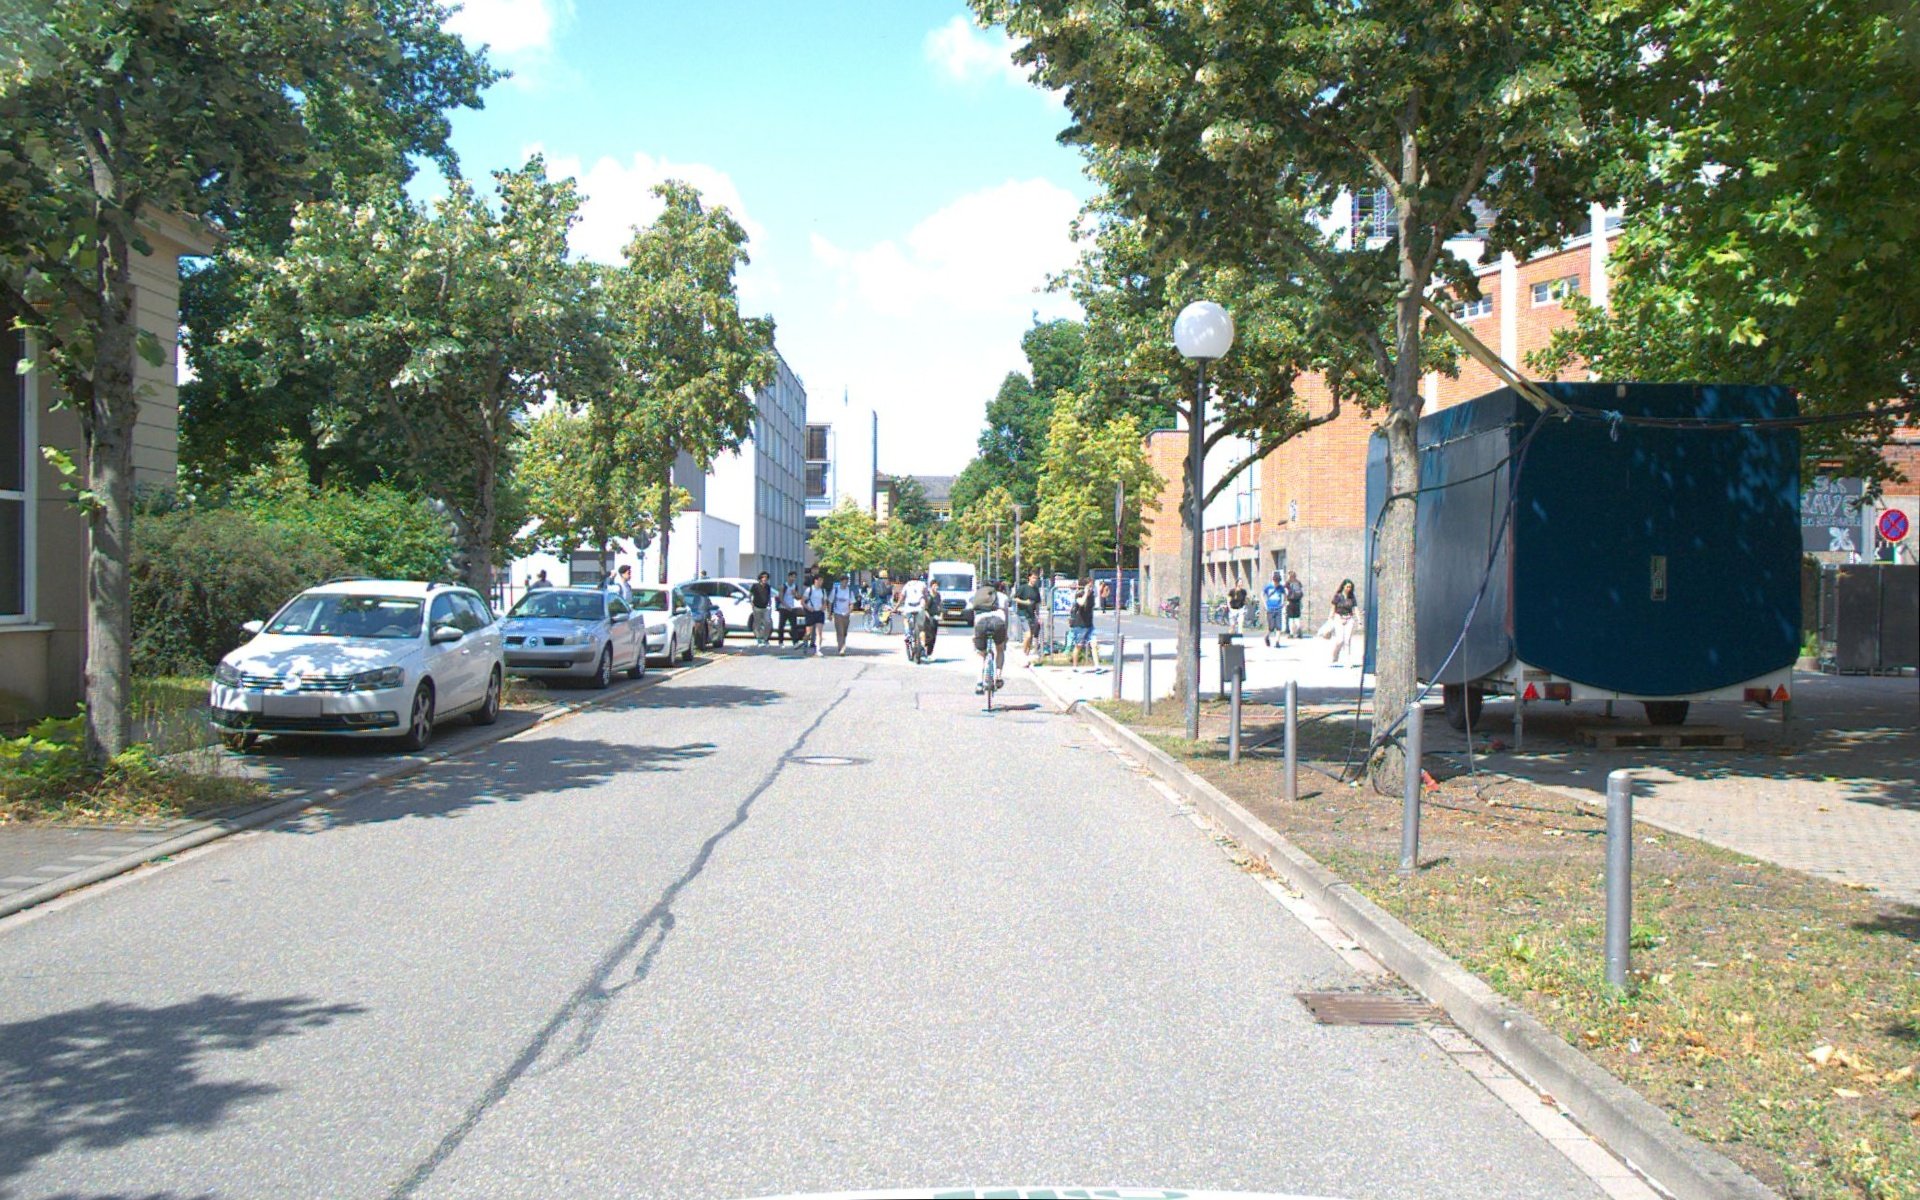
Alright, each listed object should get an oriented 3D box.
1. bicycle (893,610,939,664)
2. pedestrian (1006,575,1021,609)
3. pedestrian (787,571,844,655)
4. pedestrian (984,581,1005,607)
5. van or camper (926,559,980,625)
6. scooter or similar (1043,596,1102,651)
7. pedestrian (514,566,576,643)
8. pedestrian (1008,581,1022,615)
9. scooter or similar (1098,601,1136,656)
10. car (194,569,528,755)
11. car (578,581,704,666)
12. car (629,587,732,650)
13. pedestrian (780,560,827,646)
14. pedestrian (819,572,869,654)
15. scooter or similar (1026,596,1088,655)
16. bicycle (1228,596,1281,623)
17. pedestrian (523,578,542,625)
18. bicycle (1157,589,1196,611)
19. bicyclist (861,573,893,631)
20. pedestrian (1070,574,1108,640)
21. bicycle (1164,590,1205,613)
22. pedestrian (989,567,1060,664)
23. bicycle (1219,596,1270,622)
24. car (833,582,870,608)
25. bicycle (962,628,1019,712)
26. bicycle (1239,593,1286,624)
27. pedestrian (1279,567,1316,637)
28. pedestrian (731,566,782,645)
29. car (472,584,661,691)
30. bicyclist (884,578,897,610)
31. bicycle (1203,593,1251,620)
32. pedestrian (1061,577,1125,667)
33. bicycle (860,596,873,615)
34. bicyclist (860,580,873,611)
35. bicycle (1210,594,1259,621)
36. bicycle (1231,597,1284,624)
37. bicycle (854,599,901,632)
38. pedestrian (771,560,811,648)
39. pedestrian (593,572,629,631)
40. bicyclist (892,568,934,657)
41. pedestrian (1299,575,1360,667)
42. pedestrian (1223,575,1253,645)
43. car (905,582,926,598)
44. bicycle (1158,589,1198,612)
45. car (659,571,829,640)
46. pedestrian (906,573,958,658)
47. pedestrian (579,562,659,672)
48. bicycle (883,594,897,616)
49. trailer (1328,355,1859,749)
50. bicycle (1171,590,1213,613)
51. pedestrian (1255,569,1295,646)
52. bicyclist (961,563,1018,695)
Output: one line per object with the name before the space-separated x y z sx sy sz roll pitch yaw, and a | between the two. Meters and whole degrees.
bicycle | -0.913 0.735 33.921 0.792 1.019 2.121 -2 0 -5
pedestrian | 2.986 -0.431 92.623 0.774 1.892 1.243 0 0 0
pedestrian | -3.144 0.278 35.977 0.965 1.769 0.697 2 1 38
pedestrian | 2.758 -0.488 131.535 1.470 2.031 1.646 -3 1 -3
van or camper | -0.252 -0.300 65.676 1.952 2.488 4.570 0 0 2
scooter or similar | 2.646 0.541 38.839 1.237 1.287 0.638 0 0 31
pedestrian | -11.128 0.135 44.356 1.157 1.937 1.012 -1 -7 41
pedestrian | 3.101 -0.098 93.047 0.774 1.892 1.026 0 0 0
scooter or similar | 3.465 0.611 36.488 0.635 1.180 1.266 0 0 14
car | -5.550 0.504 15.978 1.691 1.482 4.581 2 0 -3
car | -5.797 0.382 30.436 1.628 1.436 3.806 2 1 -1
car | -6.147 0.373 36.740 1.611 1.323 3.928 0 1 0
pedestrian | -3.730 0.069 39.481 0.809 2.014 0.691 3 0 22
pedestrian | -2.568 0.275 36.530 0.891 1.769 0.675 0 1 37
scooter or similar | 2.188 0.568 37.241 1.237 1.287 0.649 0 0 31
bicycle | 10.643 0.351 59.774 1.772 0.928 0.560 -1 0 -2
pedestrian | -16.348 0.066 63.275 0.540 1.795 0.586 1 0 -1
bicycle | 10.318 0.009 78.855 1.772 1.002 0.560 -1 0 -2
bicyclist | -2.597 0.073 51.712 0.797 1.787 0.687 1 0 -24
pedestrian | 3.521 0.189 45.193 0.938 1.723 0.705 2 3 9
bicycle | 10.234 0.054 75.553 1.772 1.002 0.560 -1 0 -2
pedestrian | 1.297 0.304 33.366 1.095 1.892 0.850 2 0 38
bicycle | 10.528 0.326 61.195 1.772 0.928 0.560 -1 0 -2
car | -6.681 -0.312 102.129 1.758 1.556 4.002 0 1 3
bicycle | 0.391 0.901 21.906 0.692 1.010 1.910 1 0 0
bicycle | 10.412 0.298 56.999 1.504 1.051 0.560 -1 0 -2
pedestrian | 9.270 0.038 45.469 0.774 1.892 1.116 0 0 -2
pedestrian | -4.773 0.137 38.858 0.785 1.803 0.854 3 0 22
car | -5.669 0.482 24.325 1.690 1.367 4.166 2 1 1
bicyclist | -3.736 -0.318 88.776 0.654 1.711 0.992 -1 0 -2
bicycle | 10.468 0.248 64.762 1.772 1.002 0.560 -1 0 -2
pedestrian | 2.477 0.393 30.746 0.844 1.623 0.817 -2 1 -44
bicycle | -4.950 0.285 87.931 0.663 0.981 2.002 0 1 -3
bicyclist | -4.968 -0.265 87.995 0.630 1.629 0.908 -1 0 -3
bicycle | 10.452 0.283 63.001 1.772 1.002 0.560 -1 0 -2
bicycle | 10.581 0.382 58.936 1.772 0.928 0.560 -1 0 -2
bicycle | -2.596 0.475 51.679 0.797 1.020 2.108 1 0 -23
pedestrian | -3.934 0.104 38.517 0.610 2.015 0.819 0 -1 -32
pedestrian | -10.922 0.043 51.740 0.962 1.816 0.668 1 -1 -2
bicyclist | -0.974 0.247 34.309 0.756 1.786 0.847 -3 0 -5
pedestrian | 7.037 0.384 31.568 0.858 1.666 0.949 -3 2 -1
pedestrian | 6.742 0.228 40.119 0.492 1.658 0.570 -3 2 -11
car | -4.494 -1.036 168.027 1.758 1.556 4.002 0 1 3
bicycle | 10.263 0.022 77.891 1.772 1.002 0.560 -1 0 -2
car | -5.960 0.147 45.389 4.428 1.647 1.918 3 -1 34
pedestrian | -0.603 0.317 35.252 0.694 1.749 0.983 1 2 -31
pedestrian | -5.676 0.282 27.561 1.083 1.746 0.710 3 -2 -1
bicycle | -3.741 0.270 88.578 0.663 0.982 2.001 2 -5 -2
trailer | 5.764 -0.415 16.337 2.637 3.105 6.255 -1 0 -2
bicycle | 10.364 0.073 74.021 1.772 1.002 0.560 -1 0 -2
pedestrian | 7.686 0.174 40.381 0.695 1.818 0.751 -2 2 -11
bicyclist | 0.384 0.376 22.076 0.702 1.691 1.095 1 0 0
